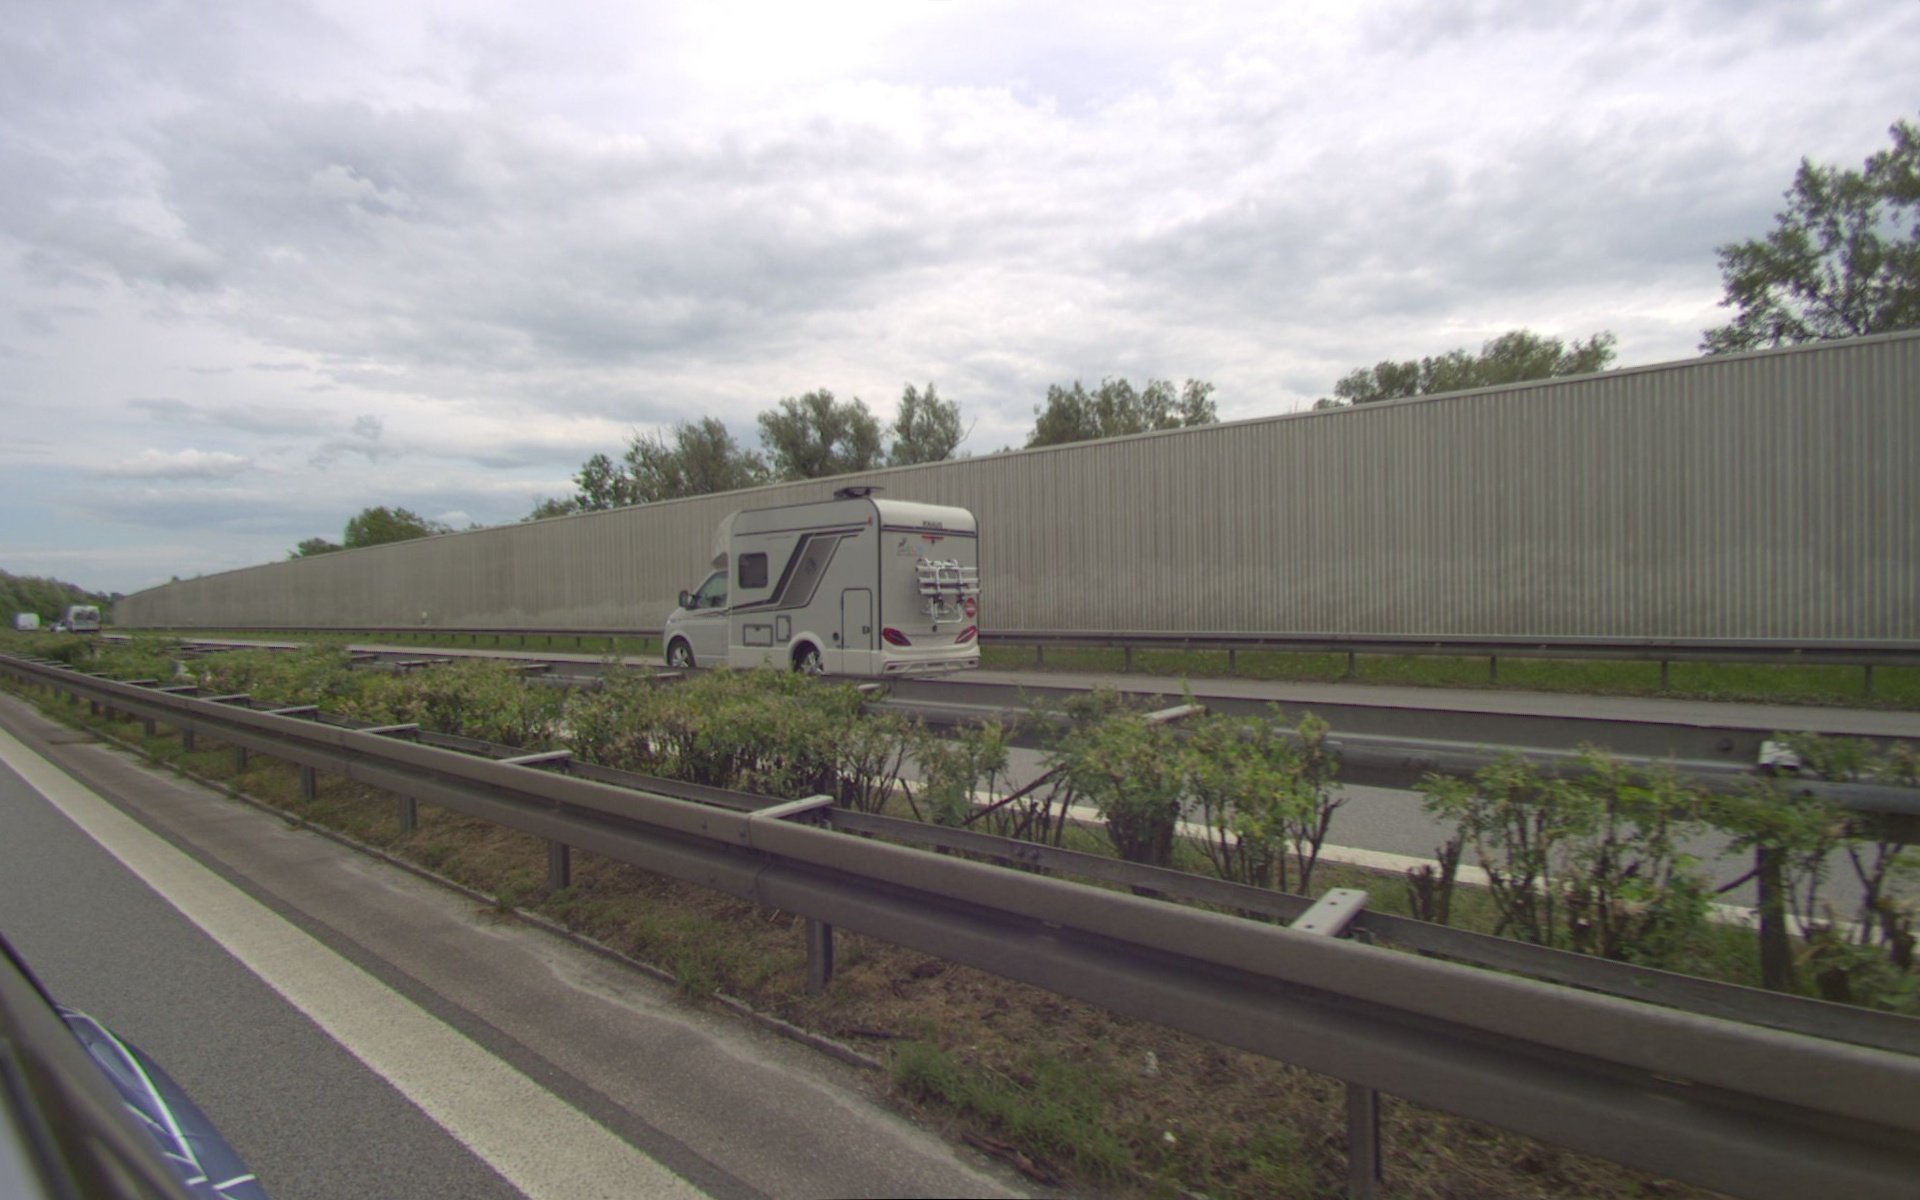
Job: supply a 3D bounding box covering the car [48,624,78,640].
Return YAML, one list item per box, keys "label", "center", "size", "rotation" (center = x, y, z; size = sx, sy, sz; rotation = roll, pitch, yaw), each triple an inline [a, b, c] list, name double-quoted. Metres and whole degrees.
- label: "car"
  center: [-86.484, 3.081, 97.541]
  size: [4.500, 1.414, 1.843]
  rotation: [-2, -2, 44]

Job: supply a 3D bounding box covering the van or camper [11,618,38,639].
- label: "van or camper"
  center: [-113.776, 3.494, 123.105]
  size: [6.309, 2.460, 1.971]
  rotation: [-2, -2, 43]

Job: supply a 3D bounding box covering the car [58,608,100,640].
- label: "car"
  center: [-71.853, 1.982, 82.547]
  size: [5.685, 2.474, 2.088]
  rotation: [-2, -2, 44]

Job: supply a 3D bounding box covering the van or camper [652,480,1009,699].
- label: "van or camper"
  center: [-2.188, -0.091, 15.668]
  size: [5.752, 2.800, 2.231]
  rotation: [-1, -1, 41]
